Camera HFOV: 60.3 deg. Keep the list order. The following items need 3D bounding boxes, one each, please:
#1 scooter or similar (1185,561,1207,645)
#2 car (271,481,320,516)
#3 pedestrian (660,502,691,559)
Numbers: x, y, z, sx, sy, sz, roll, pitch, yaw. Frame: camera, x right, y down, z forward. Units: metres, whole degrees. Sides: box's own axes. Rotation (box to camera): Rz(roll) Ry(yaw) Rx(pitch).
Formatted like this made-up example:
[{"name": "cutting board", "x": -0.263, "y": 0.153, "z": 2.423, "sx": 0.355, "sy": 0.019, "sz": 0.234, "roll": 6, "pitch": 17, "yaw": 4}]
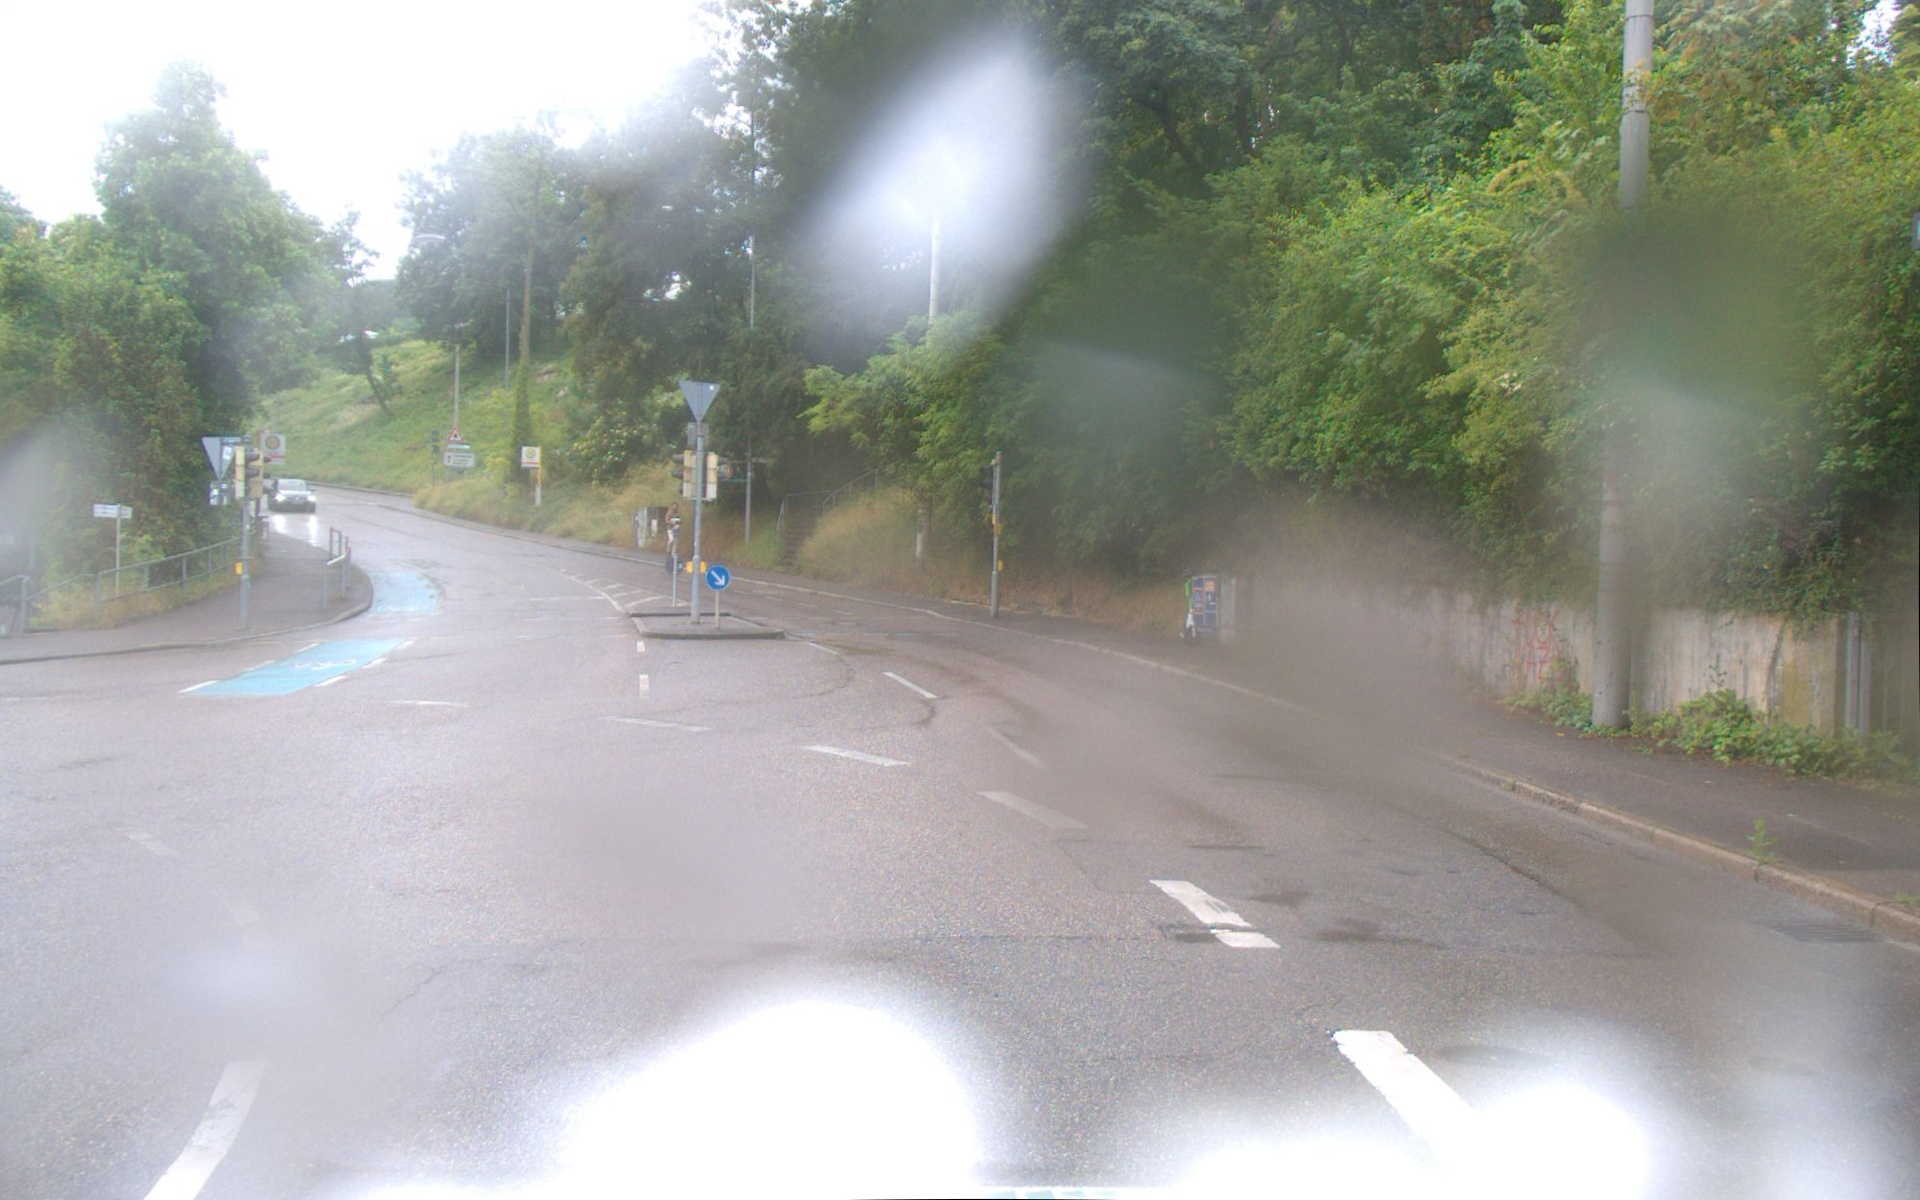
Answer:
[{"name": "scooter or similar", "x": 3.782, "y": 0.038, "z": 26.533, "sx": 0.315, "sy": 1.302, "sz": 0.752, "roll": 0, "pitch": 3, "yaw": 7}, {"name": "car", "x": -31.231, "y": -4.776, "z": 77.689, "sx": 1.931, "sy": 1.538, "sz": 4.371, "roll": 1, "pitch": 3, "yaw": -25}, {"name": "pedestrian", "x": -9.160, "y": -2.242, "z": 53.236, "sx": 0.867, "sy": 1.767, "sz": 0.861, "roll": 1, "pitch": -1, "yaw": -18}]
